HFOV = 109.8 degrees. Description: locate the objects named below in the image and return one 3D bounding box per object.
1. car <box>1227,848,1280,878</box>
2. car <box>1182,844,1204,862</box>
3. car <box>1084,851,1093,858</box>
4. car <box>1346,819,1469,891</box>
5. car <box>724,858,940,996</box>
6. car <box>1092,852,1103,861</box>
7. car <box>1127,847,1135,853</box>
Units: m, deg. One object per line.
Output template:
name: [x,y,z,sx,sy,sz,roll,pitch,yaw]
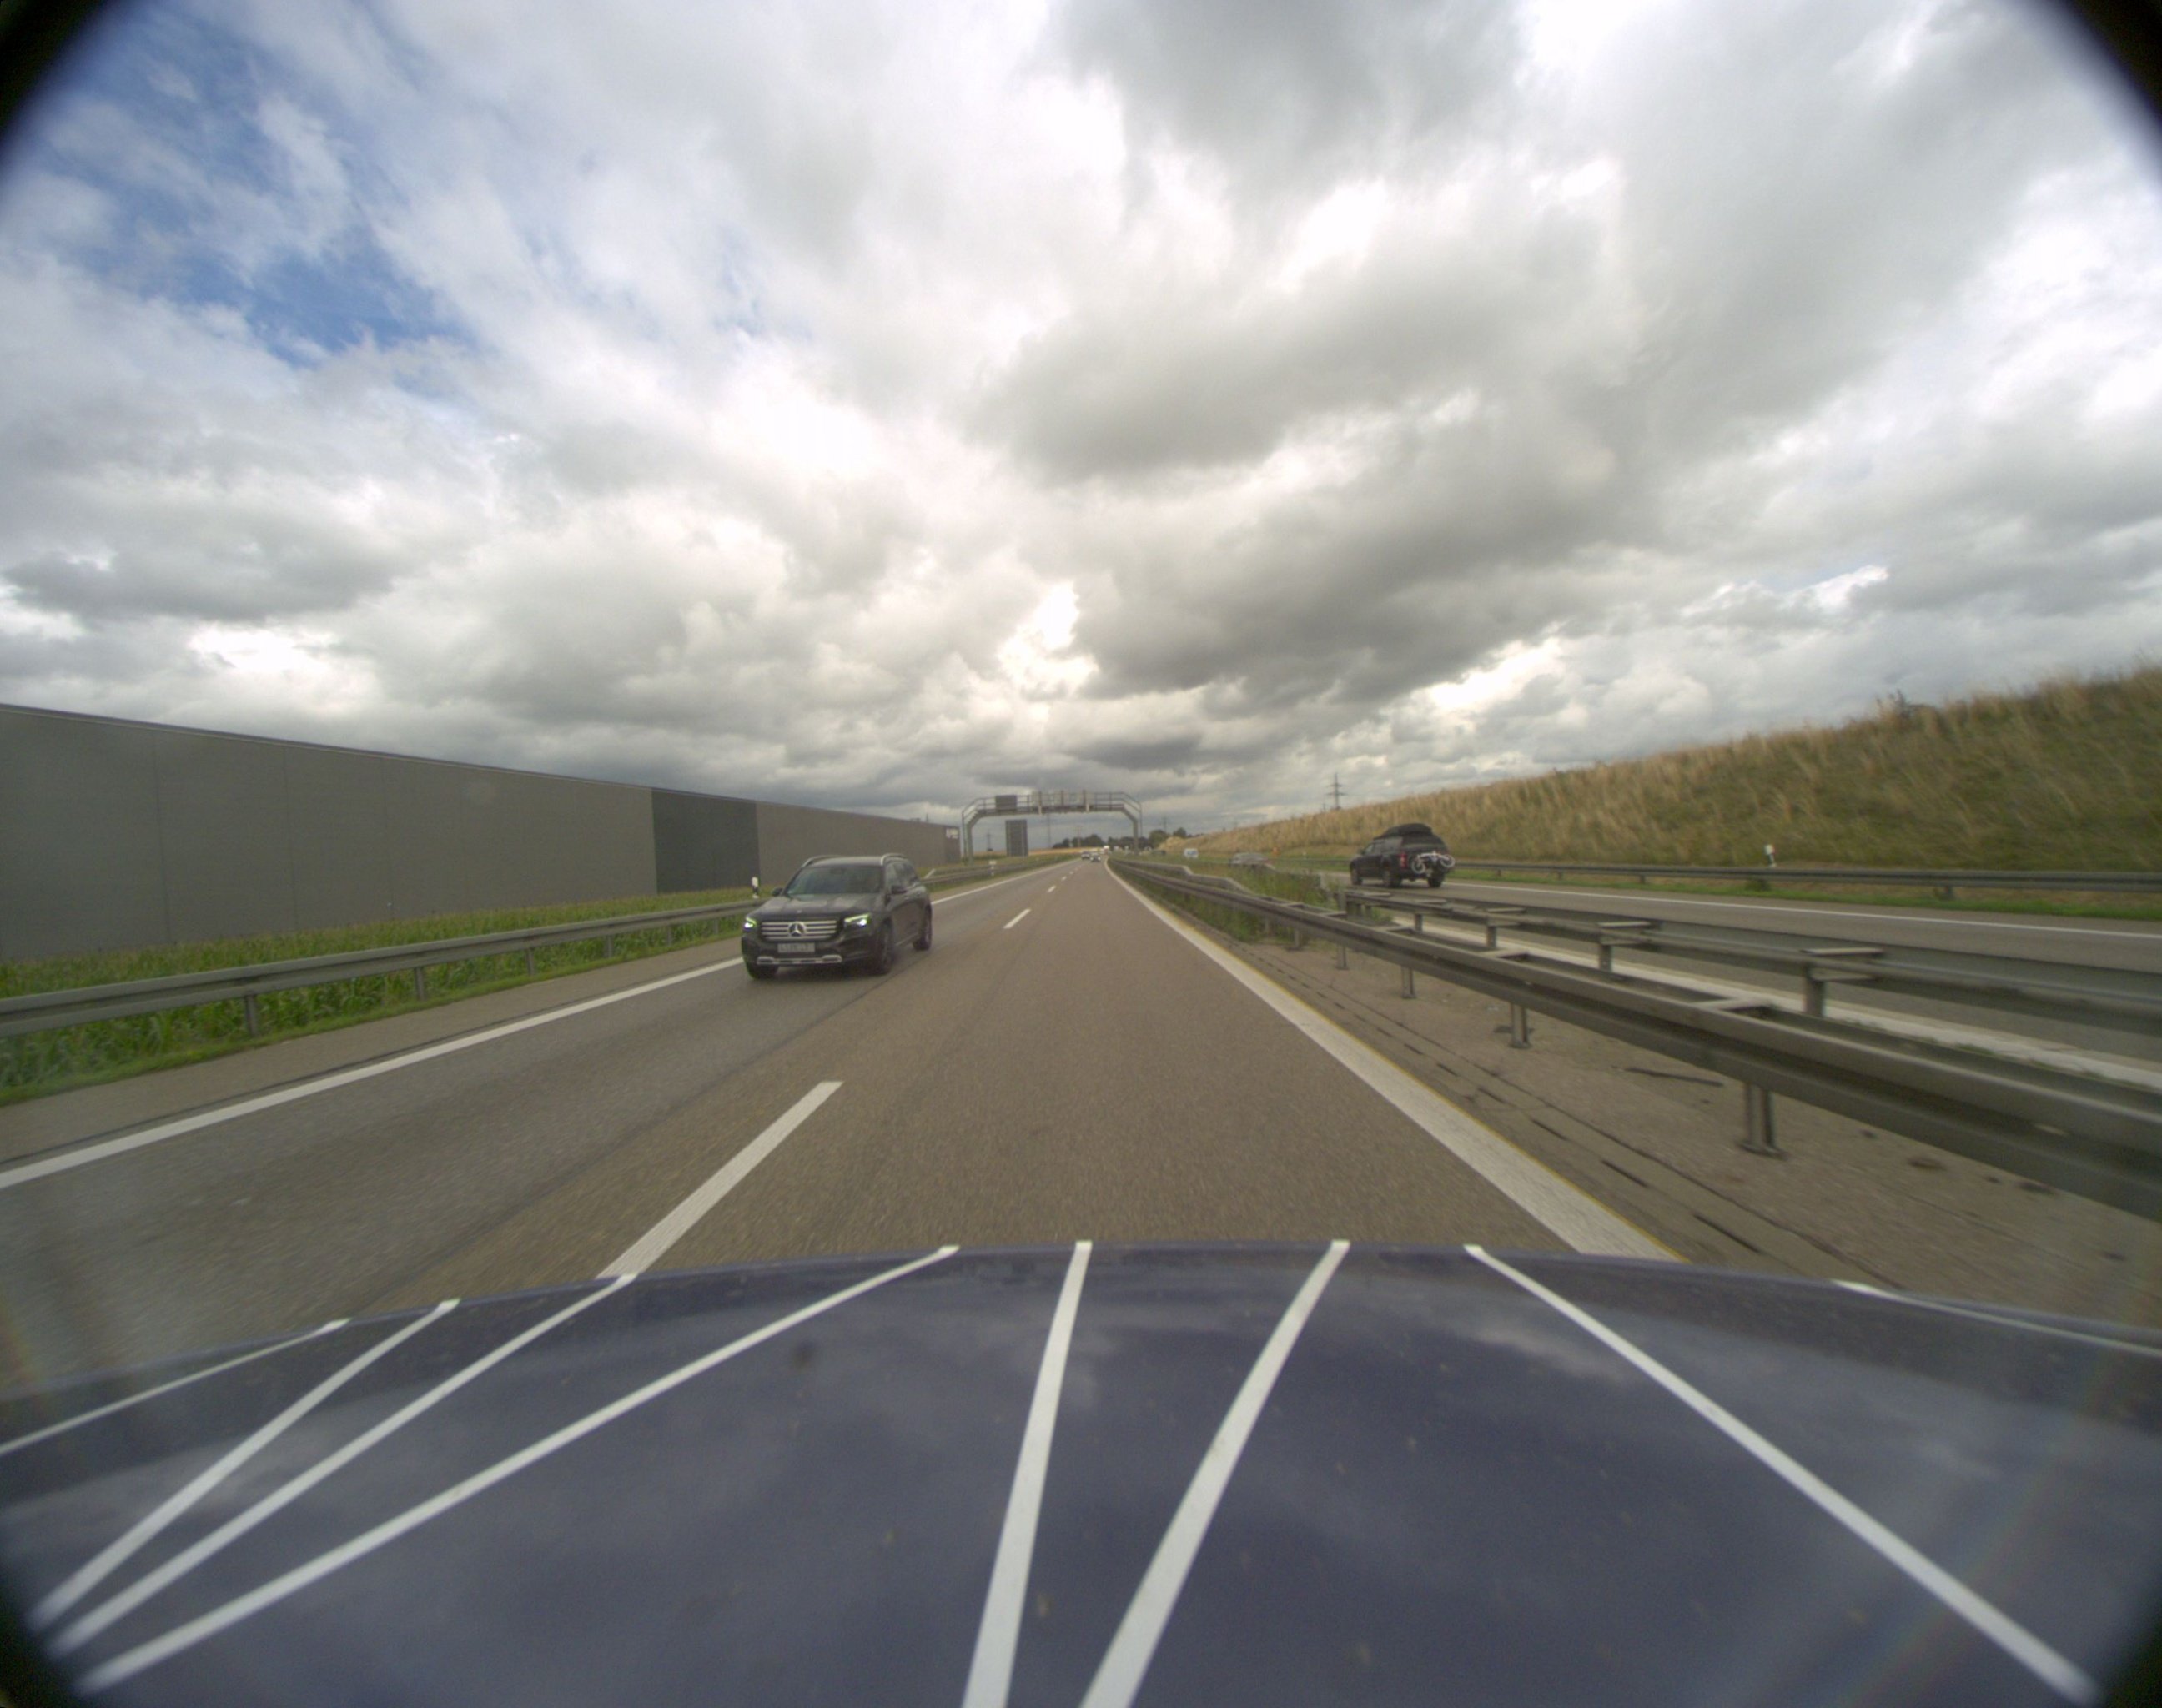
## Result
car: [9.000,0.432,39.960,1.816,1.394,4.405,-3,1,1]
car: [13.552,-0.129,92.502,1.998,2.002,4.707,-2,0,1]
car: [2.097,0.100,200.789,1.998,1.812,4.343,-2,1,4]
car: [11.517,-0.022,27.373,1.998,2.229,5.718,-3,1,1]
car: [-3.552,0.935,11.802,1.838,1.600,4.359,-2,1,0]
car: [3.339,0.514,149.076,1.998,1.696,4.663,-4,0,2]
car: [13.639,-1.050,207.760,1.741,1.581,3.999,-3,1,1]
